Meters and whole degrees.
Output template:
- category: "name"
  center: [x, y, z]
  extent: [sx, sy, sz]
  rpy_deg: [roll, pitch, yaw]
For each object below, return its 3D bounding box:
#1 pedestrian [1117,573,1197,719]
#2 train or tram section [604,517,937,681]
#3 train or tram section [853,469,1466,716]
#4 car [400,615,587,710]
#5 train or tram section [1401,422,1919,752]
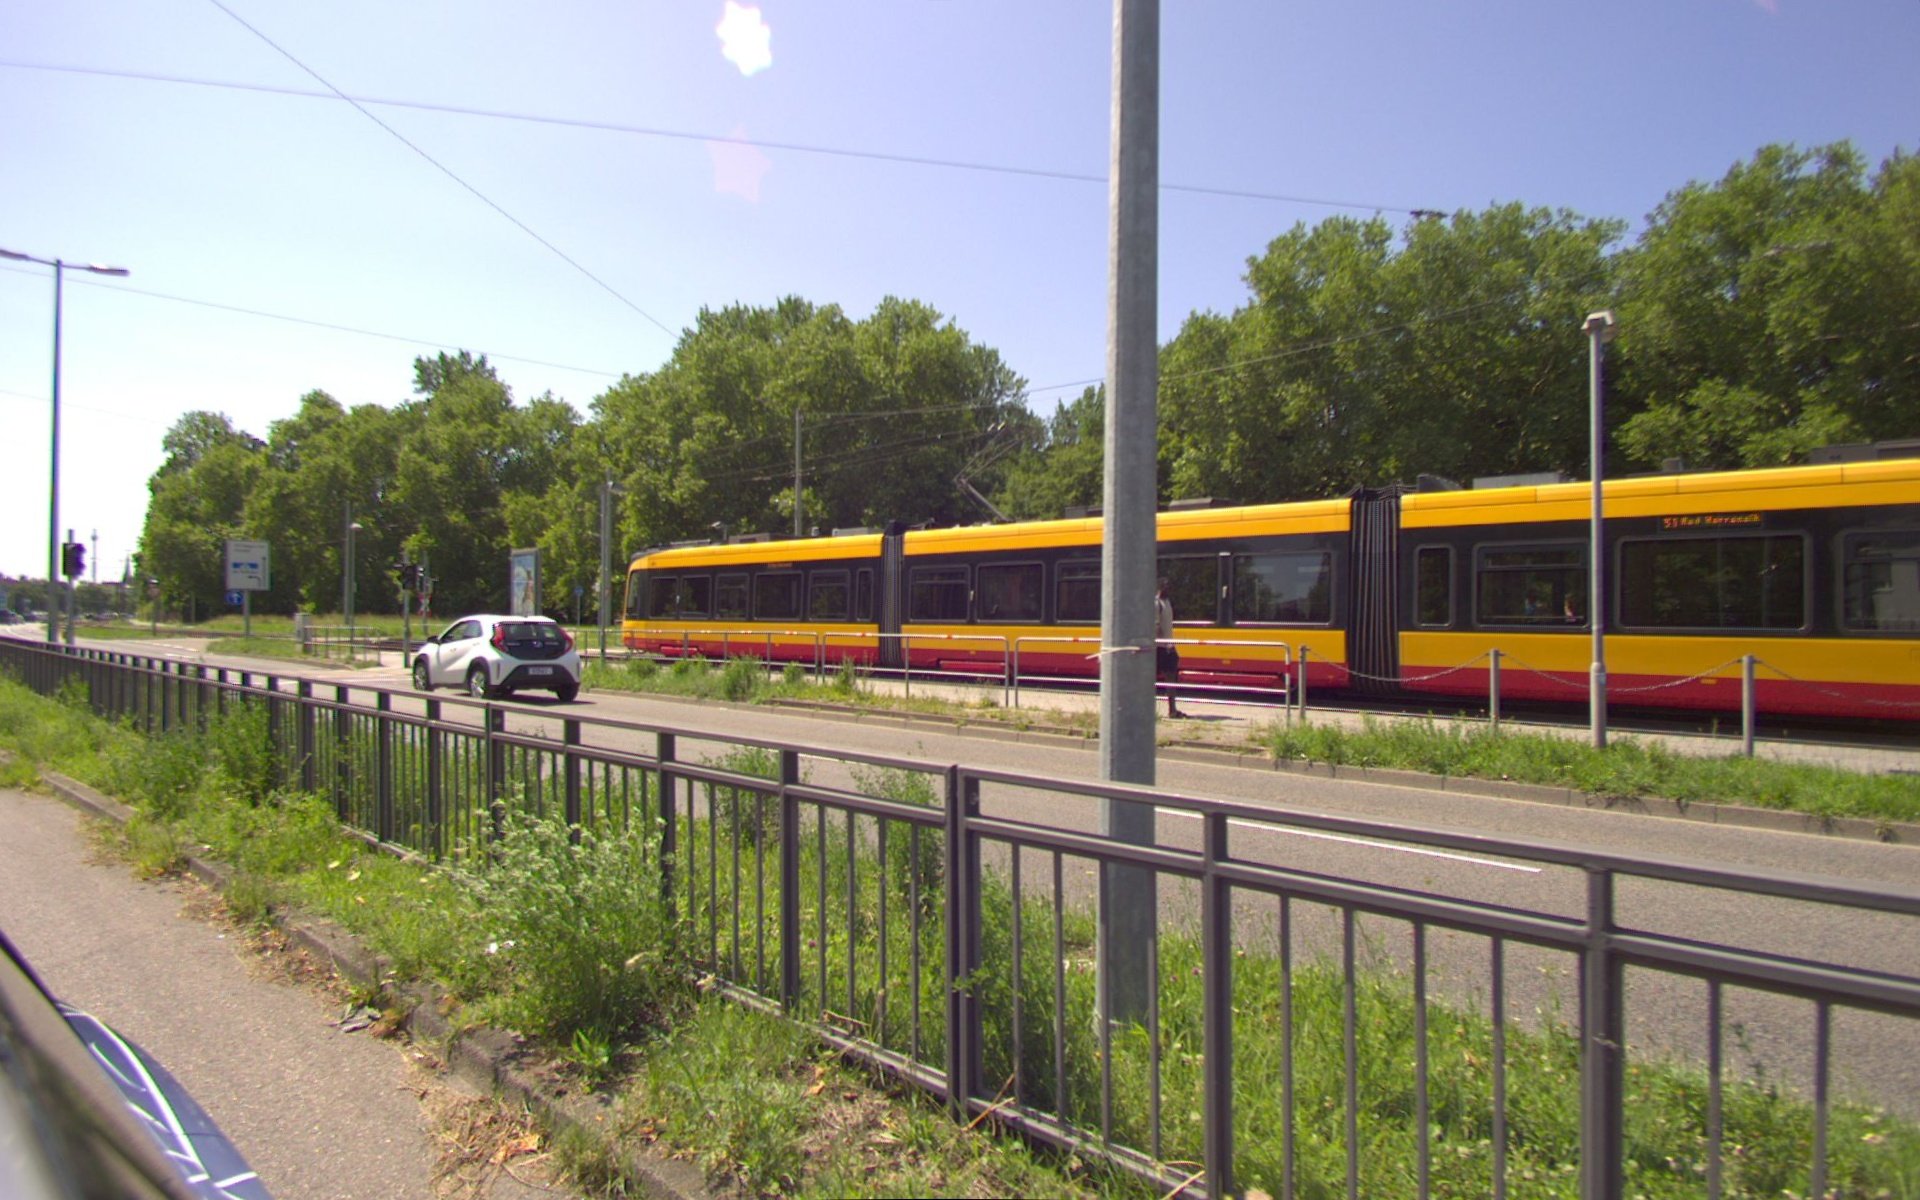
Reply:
- category: "pedestrian"
  center: [2.535, 0.571, 13.025]
  extent: [0.776, 1.804, 0.625]
  rpy_deg: [-1, 0, 40]
- category: "train or tram section"
  center: [-5.882, 0.032, 28.951]
  extent: [11.537, 3.884, 2.919]
  rpy_deg: [-1, 0, 42]
- category: "train or tram section"
  center: [3.172, -0.046, 20.829]
  extent: [12.592, 3.769, 3.011]
  rpy_deg: [-1, 0, 42]
- category: "car"
  center: [-8.427, 1.032, 18.163]
  extent: [3.719, 1.516, 1.750]
  rpy_deg: [-1, -1, 42]
- category: "train or tram section"
  center: [12.672, -0.181, 12.142]
  extent: [13.260, 3.795, 3.011]
  rpy_deg: [-1, 0, 43]
